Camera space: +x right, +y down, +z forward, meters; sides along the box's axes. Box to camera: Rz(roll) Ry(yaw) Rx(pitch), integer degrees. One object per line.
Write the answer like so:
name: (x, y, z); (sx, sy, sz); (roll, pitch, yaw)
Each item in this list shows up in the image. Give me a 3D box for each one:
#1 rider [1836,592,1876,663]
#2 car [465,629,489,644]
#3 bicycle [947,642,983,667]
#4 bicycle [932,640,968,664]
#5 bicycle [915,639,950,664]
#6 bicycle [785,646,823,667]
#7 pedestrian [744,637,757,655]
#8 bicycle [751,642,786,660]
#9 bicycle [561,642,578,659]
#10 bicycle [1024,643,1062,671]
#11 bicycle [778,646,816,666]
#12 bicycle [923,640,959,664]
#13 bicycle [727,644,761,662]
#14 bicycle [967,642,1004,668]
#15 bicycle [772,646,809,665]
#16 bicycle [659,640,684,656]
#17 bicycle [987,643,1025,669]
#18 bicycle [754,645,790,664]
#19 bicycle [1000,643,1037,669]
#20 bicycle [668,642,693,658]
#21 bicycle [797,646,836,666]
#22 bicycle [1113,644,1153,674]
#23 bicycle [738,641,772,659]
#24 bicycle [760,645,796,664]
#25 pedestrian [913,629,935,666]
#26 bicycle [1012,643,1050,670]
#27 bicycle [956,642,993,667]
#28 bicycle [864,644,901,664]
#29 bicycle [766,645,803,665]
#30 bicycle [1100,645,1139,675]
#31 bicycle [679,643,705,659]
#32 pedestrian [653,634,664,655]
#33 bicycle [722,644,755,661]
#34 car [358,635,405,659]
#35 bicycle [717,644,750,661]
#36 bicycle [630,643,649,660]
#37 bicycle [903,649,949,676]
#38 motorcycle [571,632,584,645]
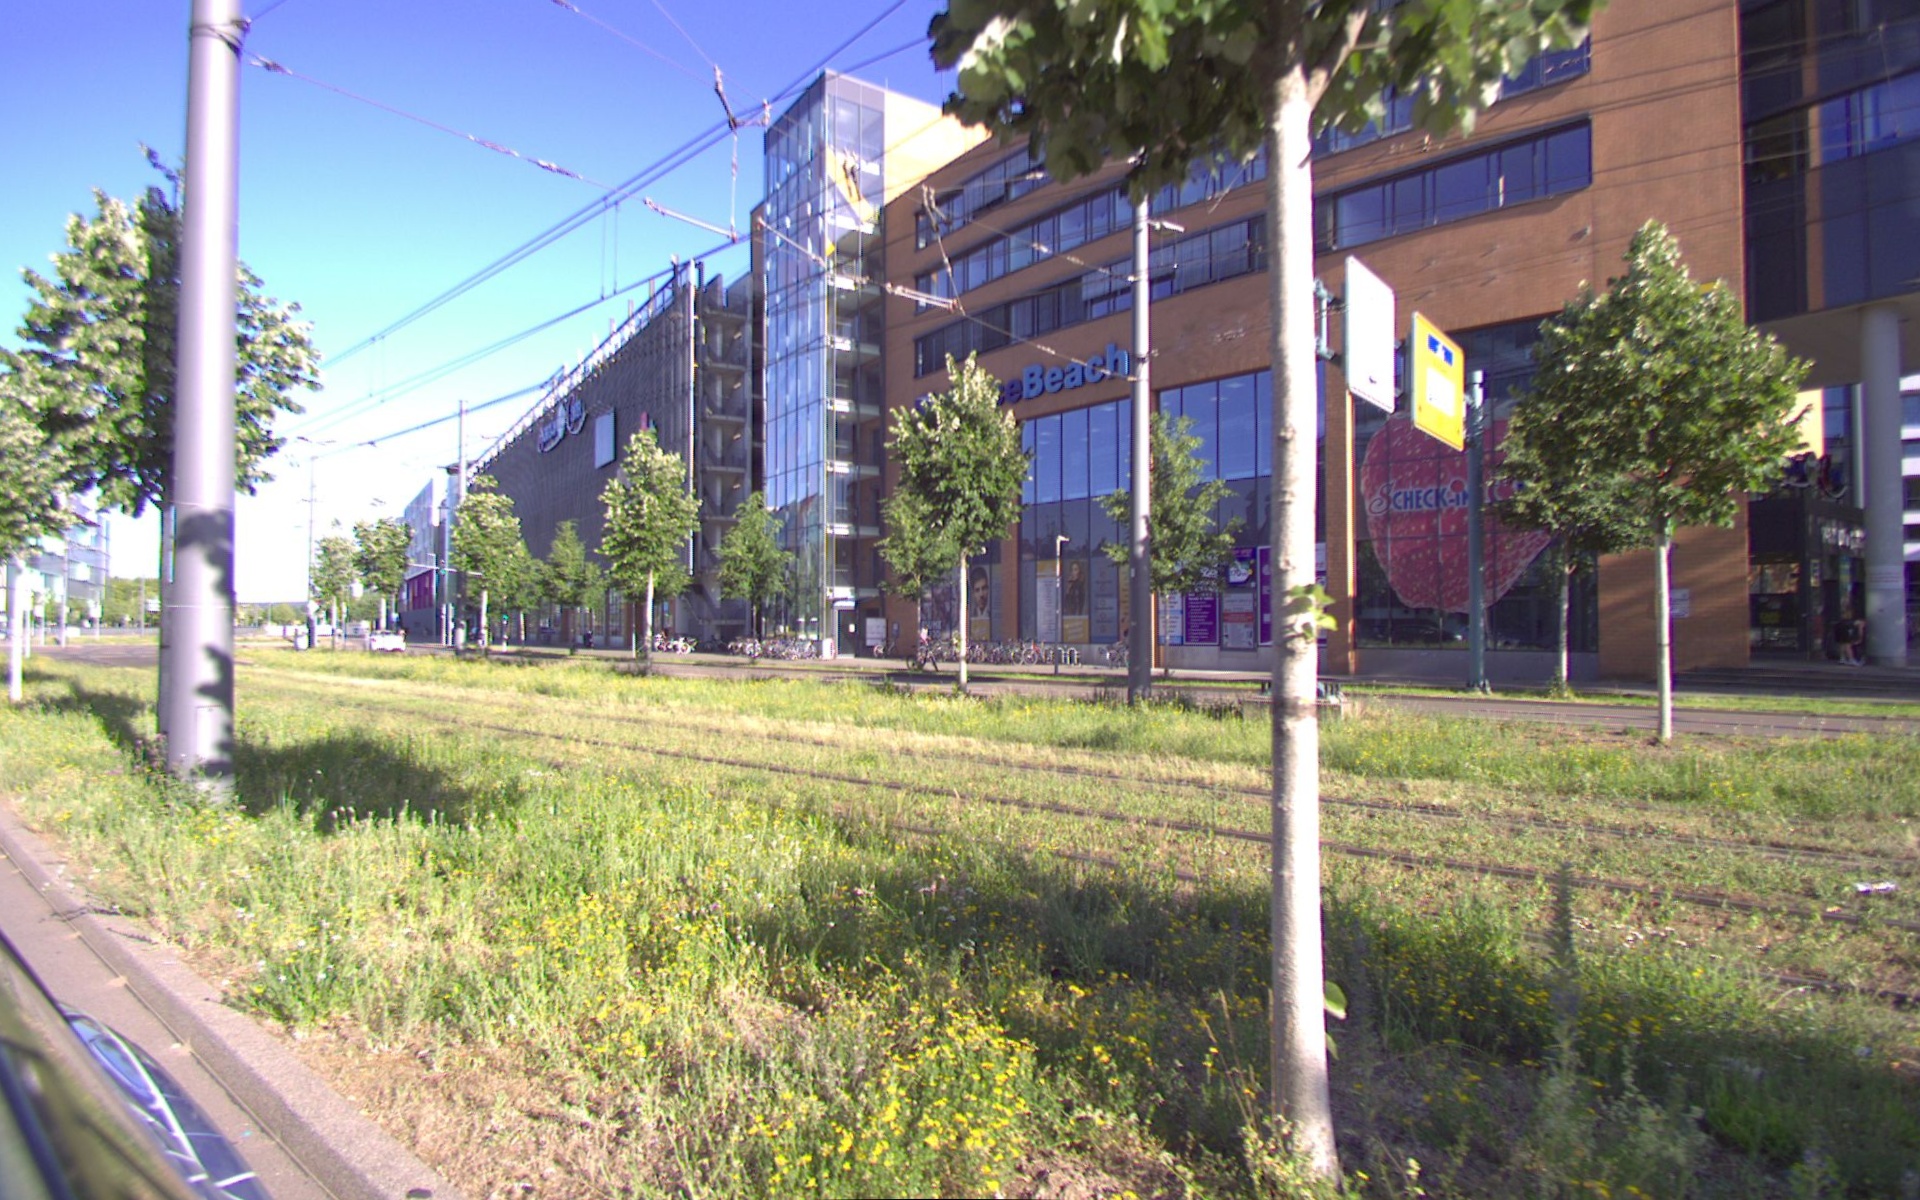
rider: (23.227, 0.713, 26.255); (0.712, 1.816, 0.710); (-2, -2, 40)
car: (-52.817, 3.938, 110.688); (1.560, 1.541, 3.758); (0, -1, -38)
bicycle: (0.220, 2.380, 44.683); (1.744, 1.057, 0.491); (1, -2, -43)
bicycle: (-0.430, 2.320, 45.381); (1.744, 1.057, 0.491); (1, -2, -43)
bicycle: (-1.251, 2.340, 46.190); (1.744, 1.057, 0.491); (1, -2, -43)
bicycle: (-7.586, 2.741, 49.202); (1.742, 0.933, 0.566); (1, -2, -34)
pedestrian: (-12.591, 2.749, 60.918); (0.620, 1.063, 0.450); (1, -2, -38)
bicycle: (-10.004, 2.663, 52.803); (1.742, 0.933, 0.492); (1, -2, -34)
bicycle: (-21.965, 2.837, 56.870); (0.380, 0.930, 1.775); (1, -2, -38)
bicycle: (3.365, 2.295, 40.948); (1.744, 1.057, 0.491); (1, -2, -43)
bicycle: (-8.029, 2.754, 49.912); (1.742, 0.933, 0.566); (1, -2, -34)
bicycle: (-0.842, 2.330, 45.770); (1.744, 1.057, 0.491); (1, -2, -43)
bicycle: (-11.711, 2.858, 54.828); (1.742, 0.933, 0.566); (1, -2, -34)
bicycle: (1.103, 2.355, 43.583); (1.744, 1.057, 0.491); (1, -2, -43)
bicycle: (-8.465, 2.767, 50.521); (1.742, 0.933, 0.566); (1, -2, -34)
bicycle: (-17.545, 2.925, 61.567); (1.377, 0.933, 0.463); (1, -2, -34)
bicycle: (1.946, 2.333, 42.554); (1.744, 1.057, 0.491); (1, -2, -43)
bicycle: (-9.694, 2.802, 52.248); (1.742, 0.933, 0.566); (1, -2, -34)
bicycle: (2.433, 2.320, 42.092); (1.744, 1.057, 0.491); (1, -2, -43)
bicycle: (-16.730, 3.019, 60.656); (1.377, 0.933, 0.463); (1, -2, -34)
bicycle: (-6.860, 2.672, 48.431); (1.742, 0.933, 0.566); (1, -2, -34)
bicycle: (6.365, 2.158, 37.223); (1.744, 1.057, 0.491); (1, -2, -43)
bicycle: (-10.902, 2.650, 53.924); (1.742, 0.933, 0.492); (1, -2, -34)
bicycle: (-9.282, 2.790, 51.644); (1.742, 0.933, 0.566); (1, -2, -34)
pedestrian: (-1.672, 2.177, 46.784); (0.736, 1.681, 0.676); (1, -3, -45)
bicycle: (2.924, 2.307, 41.534); (1.744, 1.057, 0.491); (1, -2, -43)
bicycle: (0.632, 2.368, 44.166); (1.744, 1.057, 0.491); (1, -2, -43)
bicycle: (-3.806, 2.626, 49.606); (1.742, 0.933, 0.566); (1, -2, -34)
bicycle: (-8.847, 2.778, 51.076); (1.742, 0.933, 0.566); (1, -2, -34)
bicycle: (5.948, 2.224, 37.652); (1.744, 1.057, 0.491); (1, -2, -43)
bicycle: (-15.792, 2.995, 59.638); (1.377, 0.933, 0.463); (1, -2, -34)
pedestrian: (-18.728, 2.766, 62.913); (0.442, 1.299, 0.631); (1, -2, -38)
bicycle: (-12.108, 2.869, 55.387); (1.742, 0.933, 0.492); (1, -2, -34)
car: (-33.961, 2.759, 59.374); (1.783, 1.338, 4.414); (2, -3, -38)
bicycle: (-12.514, 2.899, 55.968); (1.742, 0.933, 0.492); (1, -2, -34)
bicycle: (-17.207, 2.784, 54.384); (0.380, 0.875, 1.775); (1, -2, -38)
bicycle: (-1.209, 2.183, 35.560); (1.770, 0.875, 0.458); (-2, -2, 40)
motorcycle: (-28.844, 2.898, 76.217); (0.421, 0.927, 2.029); (1, -2, -35)
